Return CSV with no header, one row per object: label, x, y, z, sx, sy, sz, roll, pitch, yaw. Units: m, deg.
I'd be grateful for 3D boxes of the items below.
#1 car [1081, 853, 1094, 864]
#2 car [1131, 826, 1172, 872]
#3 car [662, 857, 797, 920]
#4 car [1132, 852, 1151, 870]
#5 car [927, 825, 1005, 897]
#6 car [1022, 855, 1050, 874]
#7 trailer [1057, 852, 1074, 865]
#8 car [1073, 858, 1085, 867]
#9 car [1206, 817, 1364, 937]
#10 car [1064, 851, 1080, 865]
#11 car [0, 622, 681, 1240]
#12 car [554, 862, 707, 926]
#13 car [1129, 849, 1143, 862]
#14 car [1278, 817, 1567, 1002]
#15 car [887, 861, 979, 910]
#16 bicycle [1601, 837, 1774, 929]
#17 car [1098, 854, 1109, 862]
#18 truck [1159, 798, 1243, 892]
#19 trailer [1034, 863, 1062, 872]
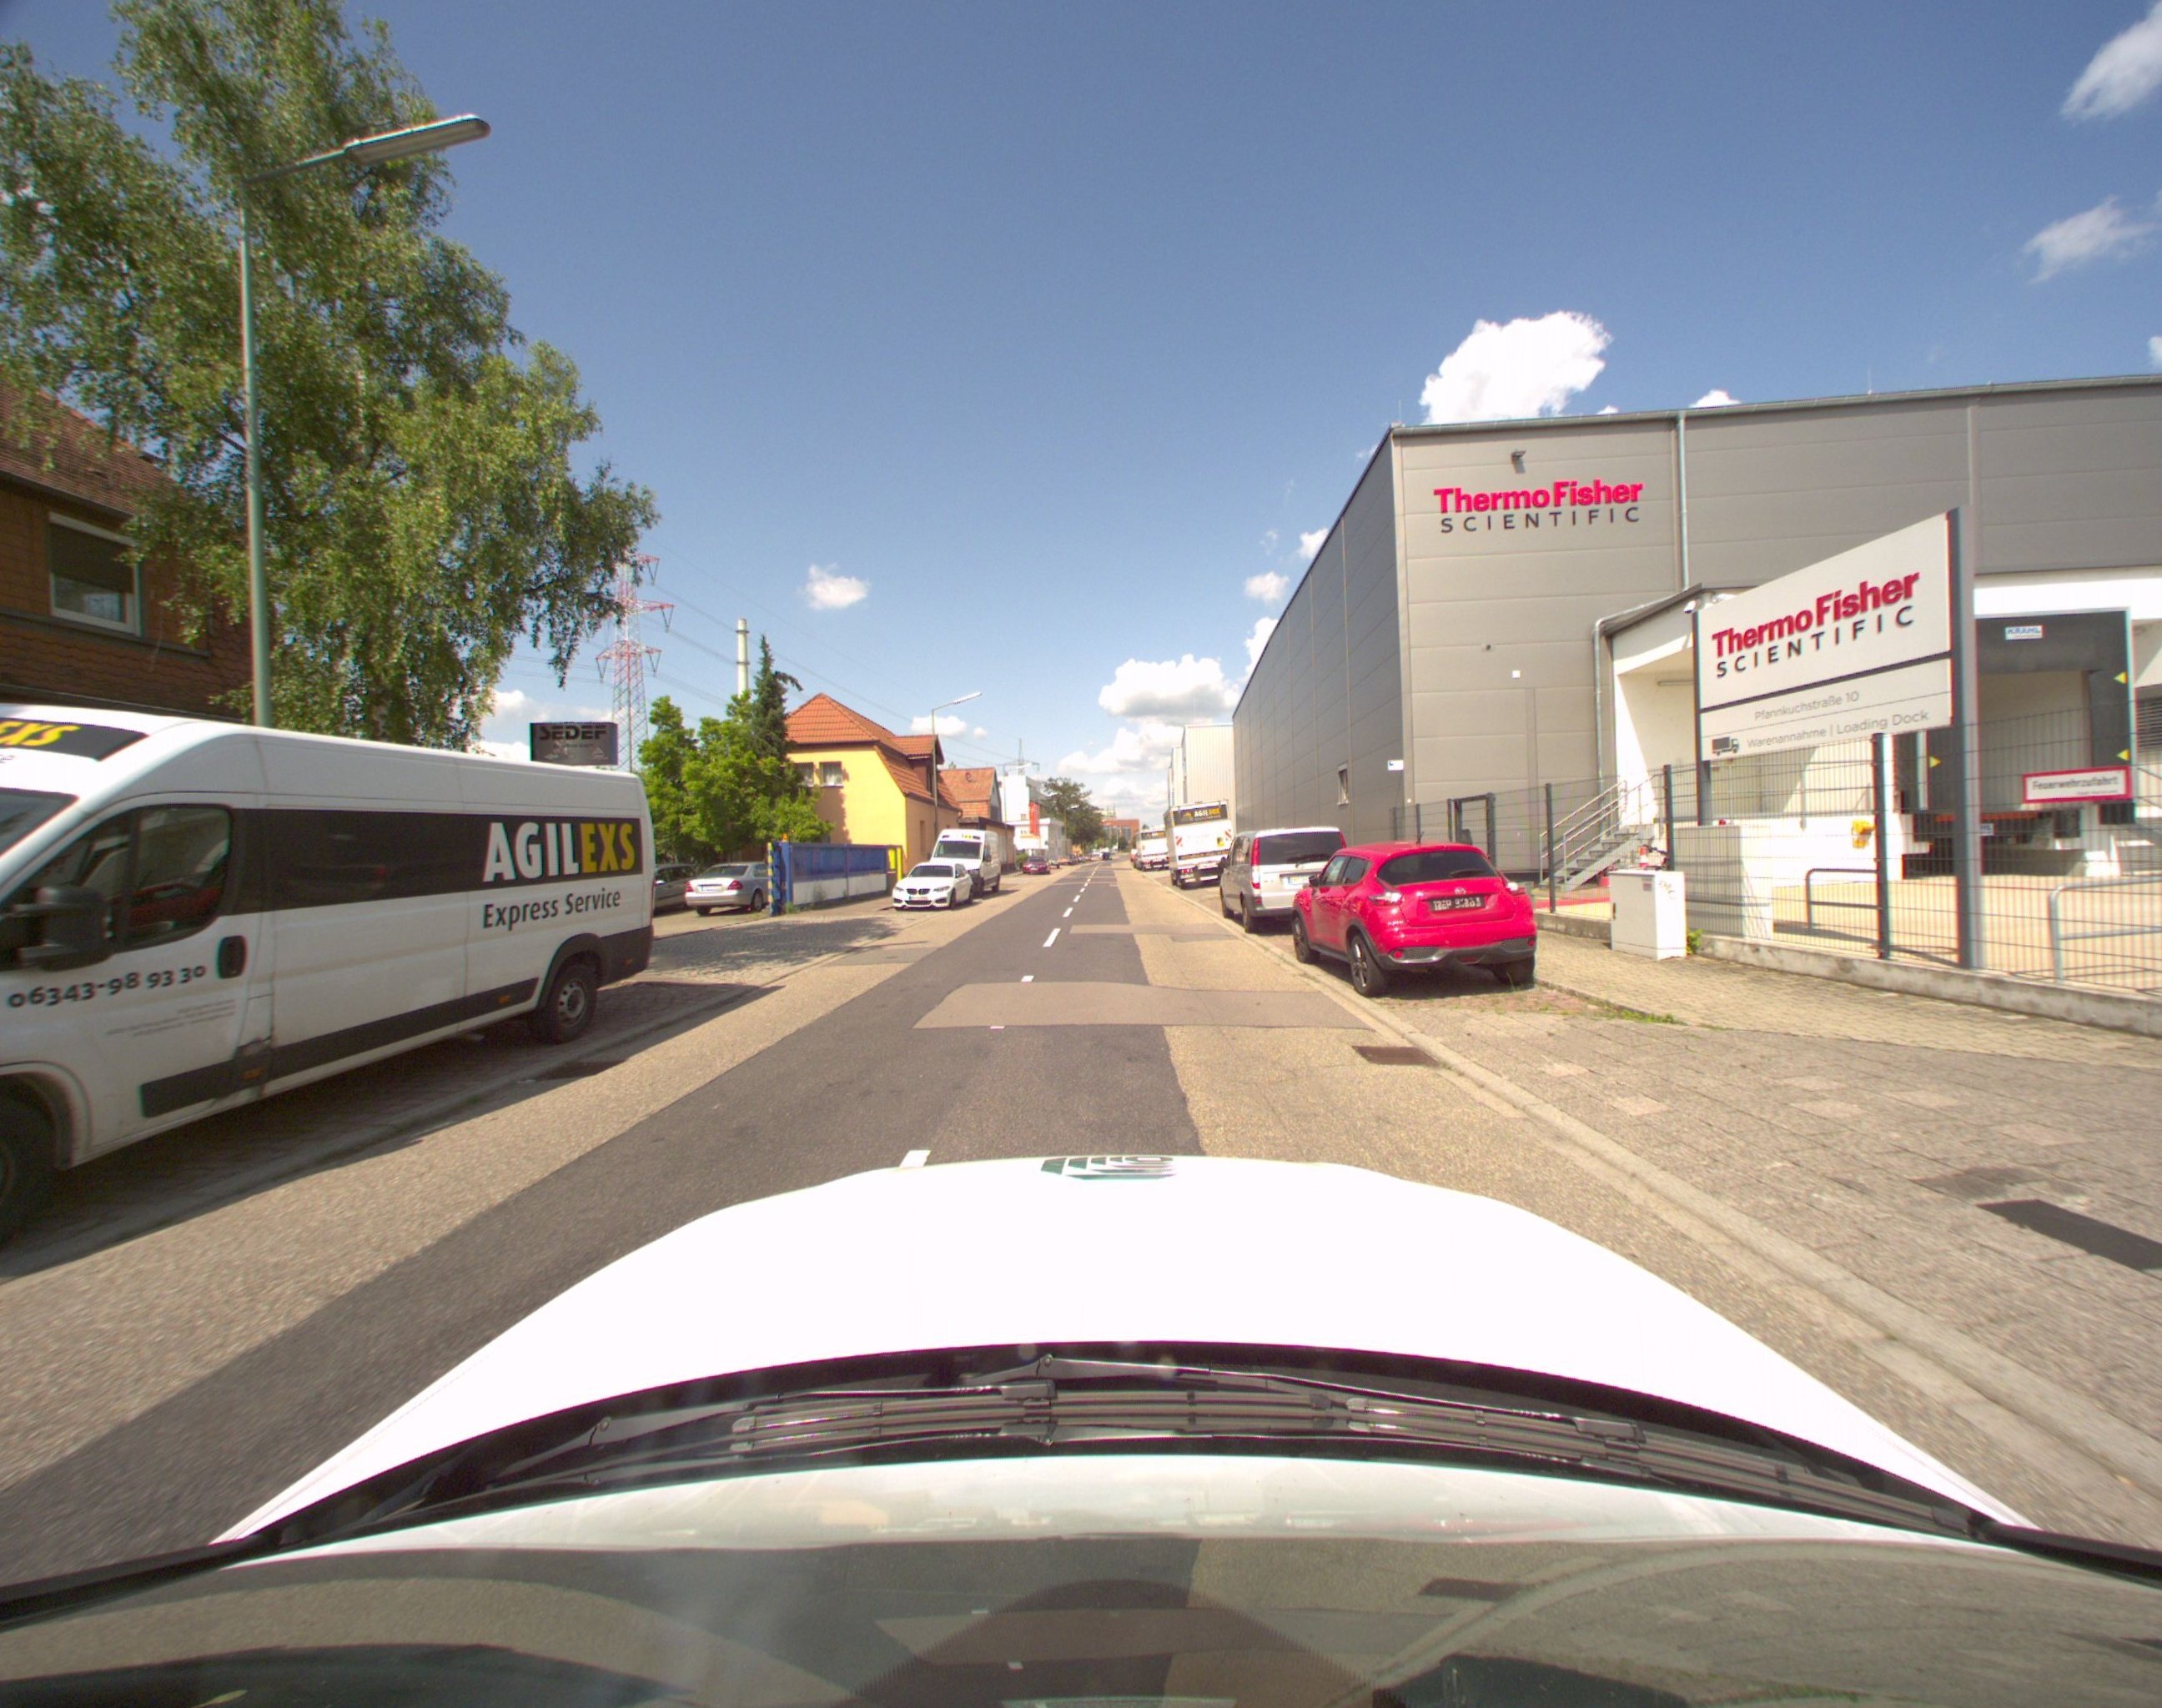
car,1.159,0.782,143.023,1.913,1.794,4.005,0,-1,4
car,5.603,-0.365,65.338,2.381,3.362,6.642,-4,0,-1
car,-10.184,0.934,23.970,1.857,1.463,4.147,-3,1,4
car,5.751,0.708,77.780,1.761,1.612,3.876,-2,-1,3
car,-4.434,0.273,32.462,2.020,2.561,6.840,0,-1,1
car,-3.477,0.817,64.195,1.755,1.447,4.743,0,-1,2
trailer,-1.957,0.573,104.215,1.986,1.556,4.255,-1,0,2
car,-0.347,1.282,125.084,1.662,1.447,3.455,0,-1,2
car,3.916,0.402,16.650,2.045,1.903,5.151,-5,0,3
car,-1.305,0.548,119.602,1.984,2.014,4.005,0,-1,4
car,-5.469,0.330,5.648,2.023,2.558,6.656,1,-1,0
car,-13.173,1.110,24.162,1.791,1.467,4.318,-2,2,5
car,8.134,0.251,120.041,1.931,1.742,4.382,-2,-1,4
car,3.719,0.526,9.745,1.698,1.624,4.093,-5,0,1
car,-4.486,0.922,25.383,1.788,1.397,4.505,0,-1,3
bicycle,8.330,0.394,11.225,1.941,1.143,0.458,-3,0,4
car,4.163,0.686,149.298,1.910,1.285,3.617,-2,0,3
truck,4.852,-0.324,34.159,2.449,3.293,6.821,-6,-1,2
trailer,-3.314,1.331,83.018,2.353,0.893,5.571,0,0,2
